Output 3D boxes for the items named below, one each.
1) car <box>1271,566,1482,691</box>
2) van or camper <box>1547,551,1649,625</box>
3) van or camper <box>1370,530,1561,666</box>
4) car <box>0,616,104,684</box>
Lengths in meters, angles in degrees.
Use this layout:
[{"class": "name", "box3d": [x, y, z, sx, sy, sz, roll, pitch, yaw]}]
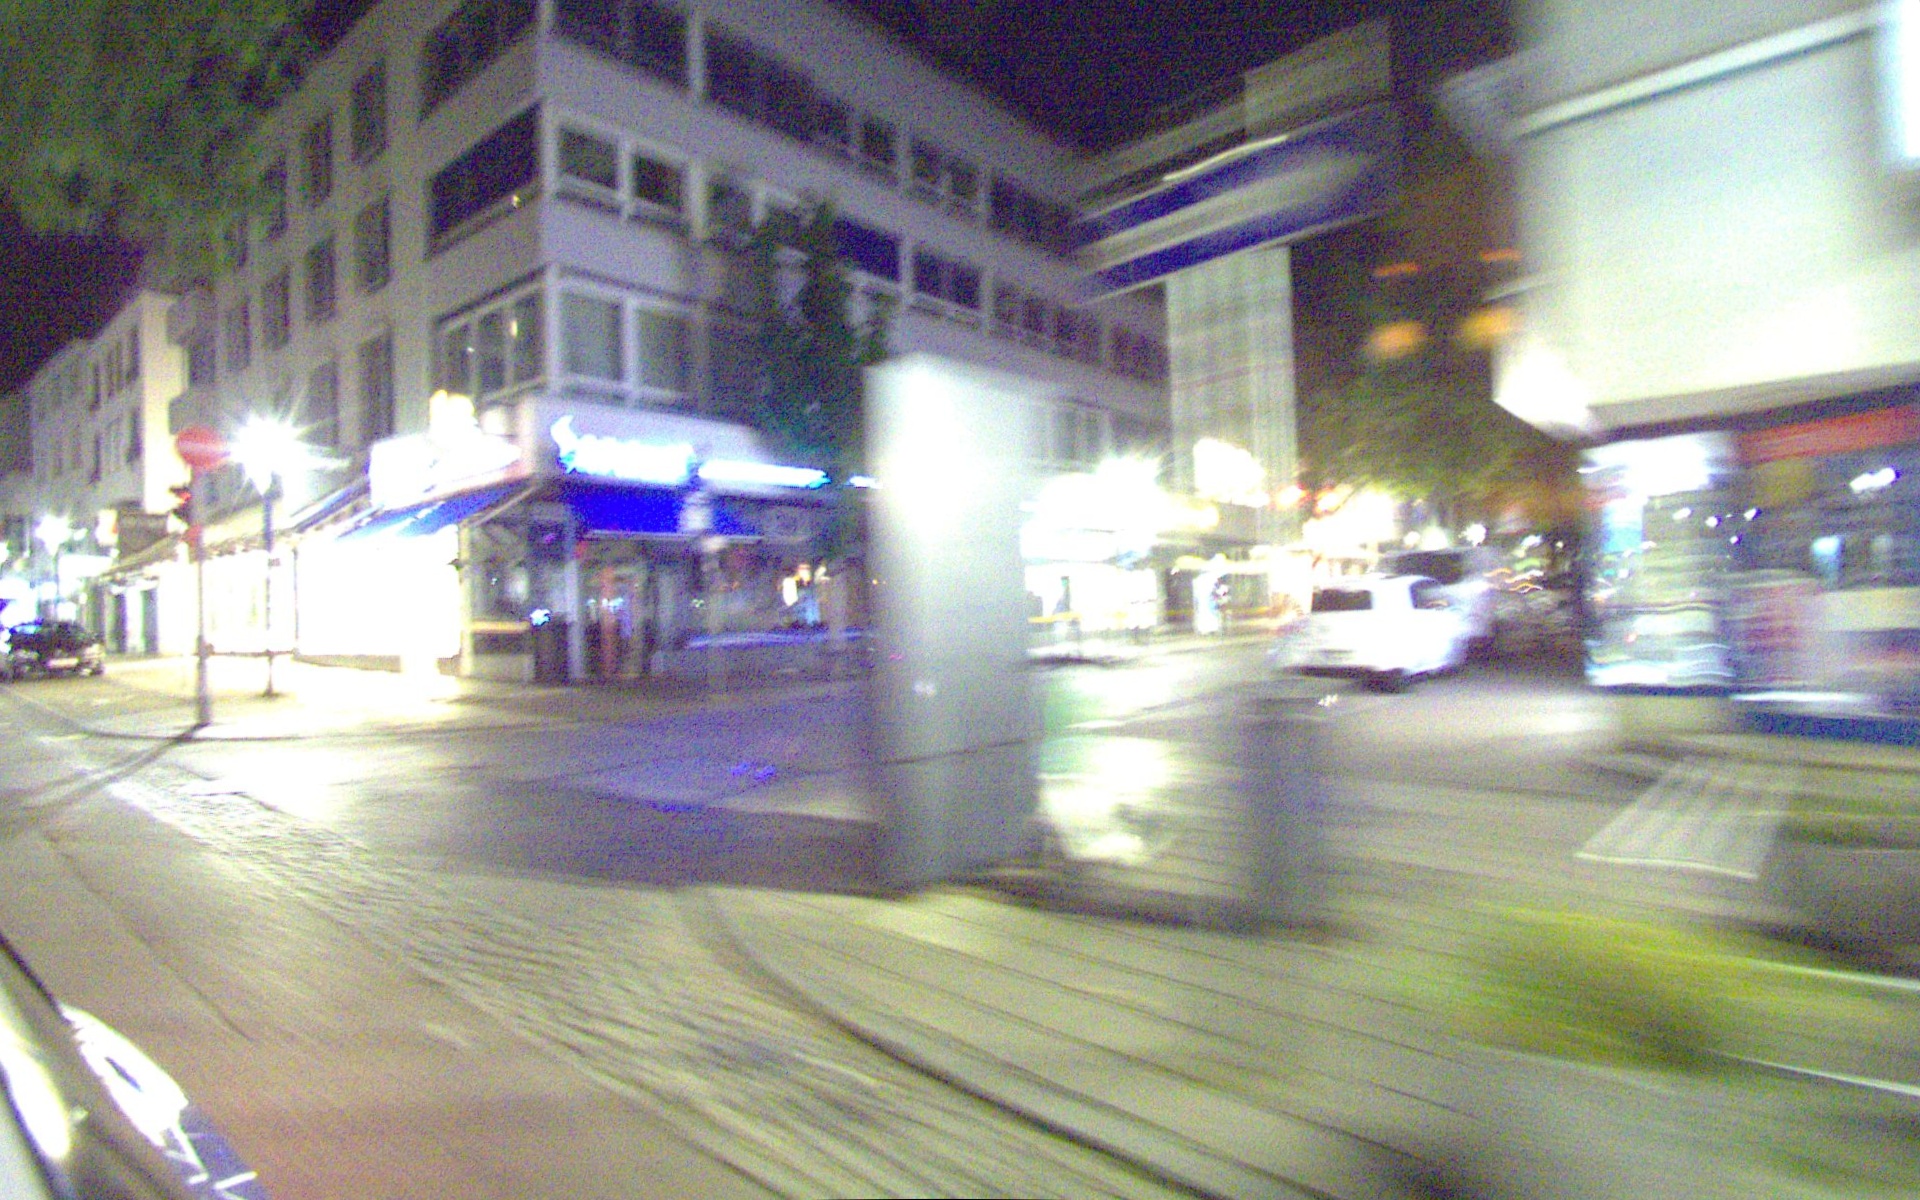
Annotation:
[{"class": "car", "box3d": [6.019, 0.366, 14.413, 1.796, 1.532, 3.565, -4, -1, 39]}, {"class": "van or camper", "box3d": [20.294, -0.372, 32.137, 2.089, 2.144, 4.070, -4, -1, 40]}, {"class": "van or camper", "box3d": [9.243, -0.078, 18.334, 2.089, 2.143, 4.071, -4, 0, 40]}, {"class": "car", "box3d": [-22.265, 1.174, 24.583, 4.012, 1.436, 1.634, -2, 2, 41]}]
